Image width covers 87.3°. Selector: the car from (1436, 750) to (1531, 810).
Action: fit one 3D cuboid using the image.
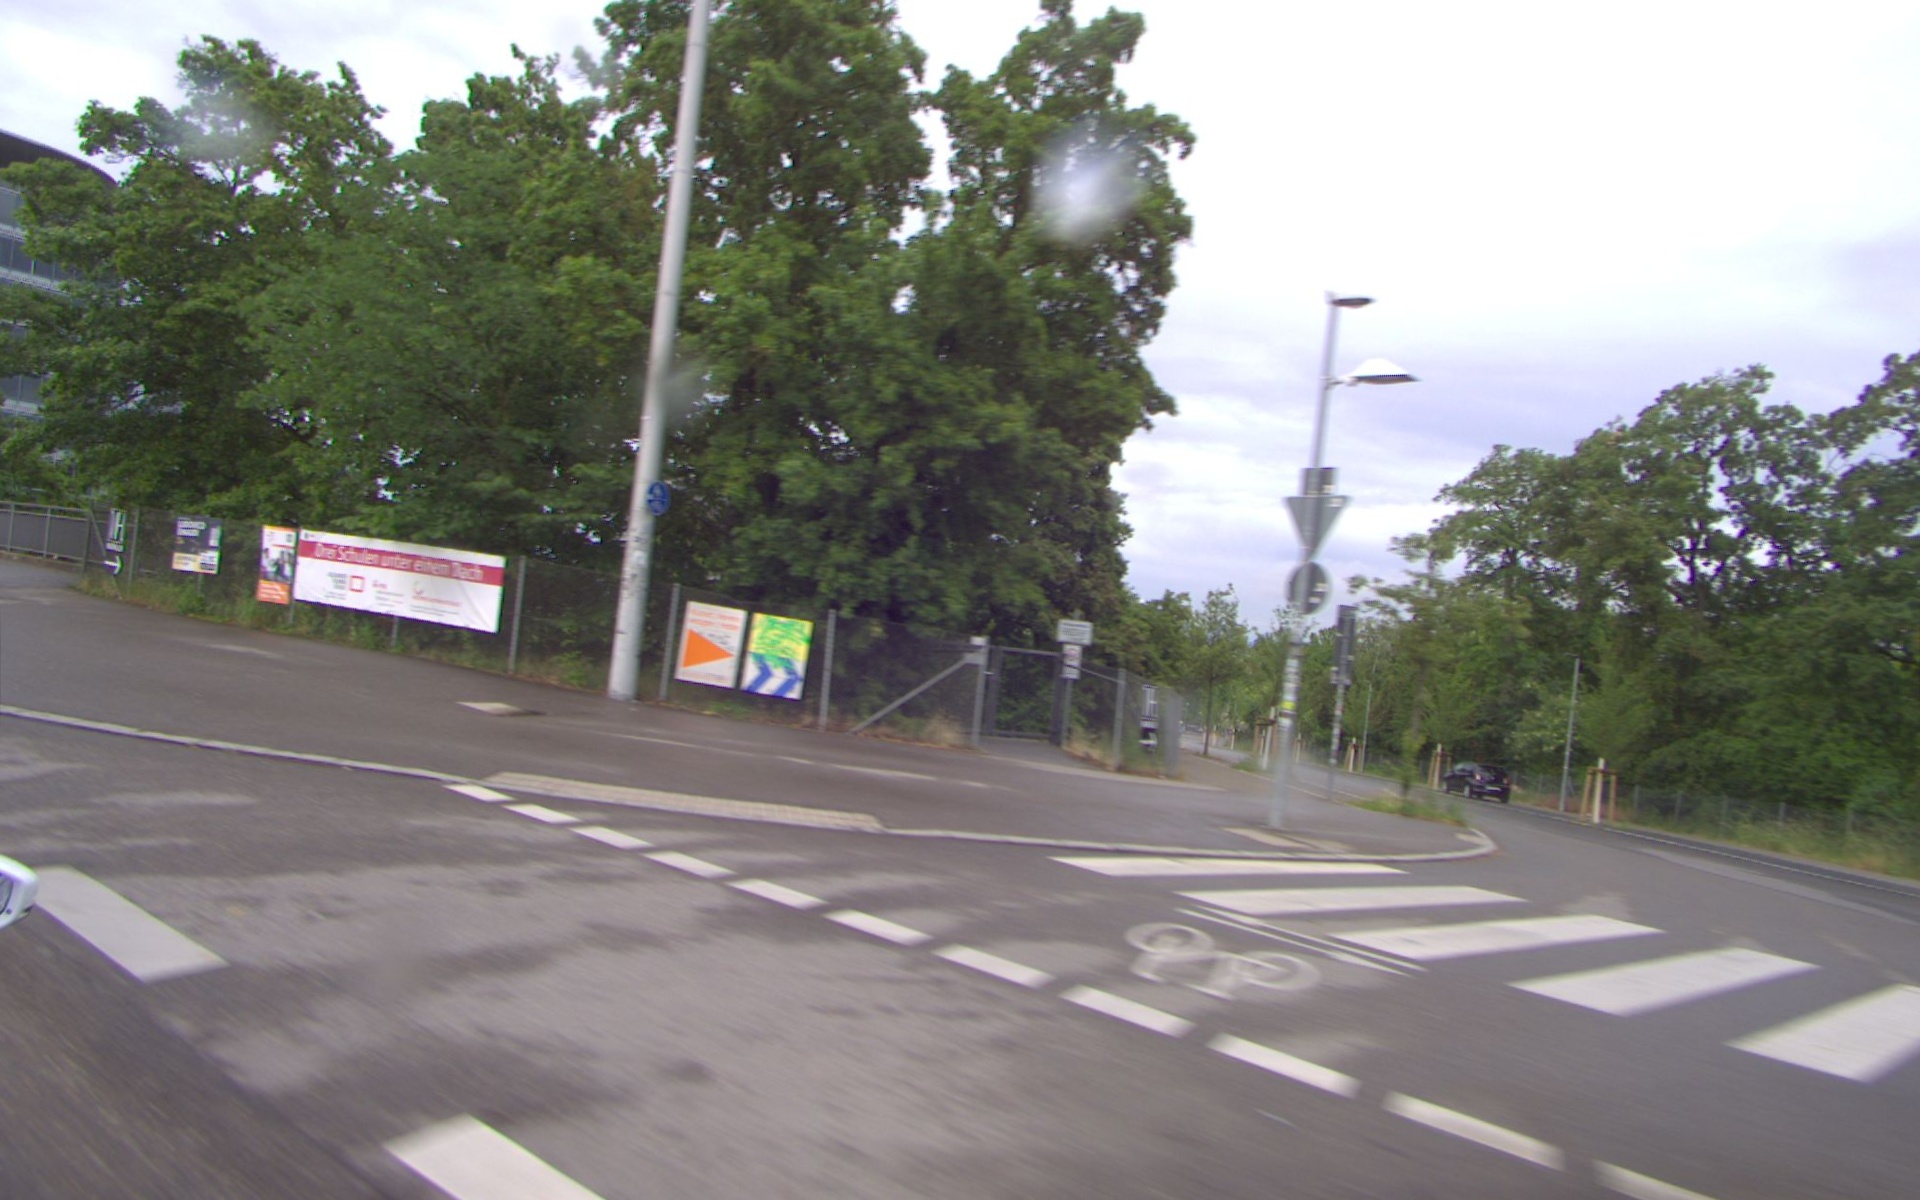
[{"bbox_3d":[21.690,7.419,41.869,1.962,1.801,4.094,8,-4,6],"label":"car"}]
